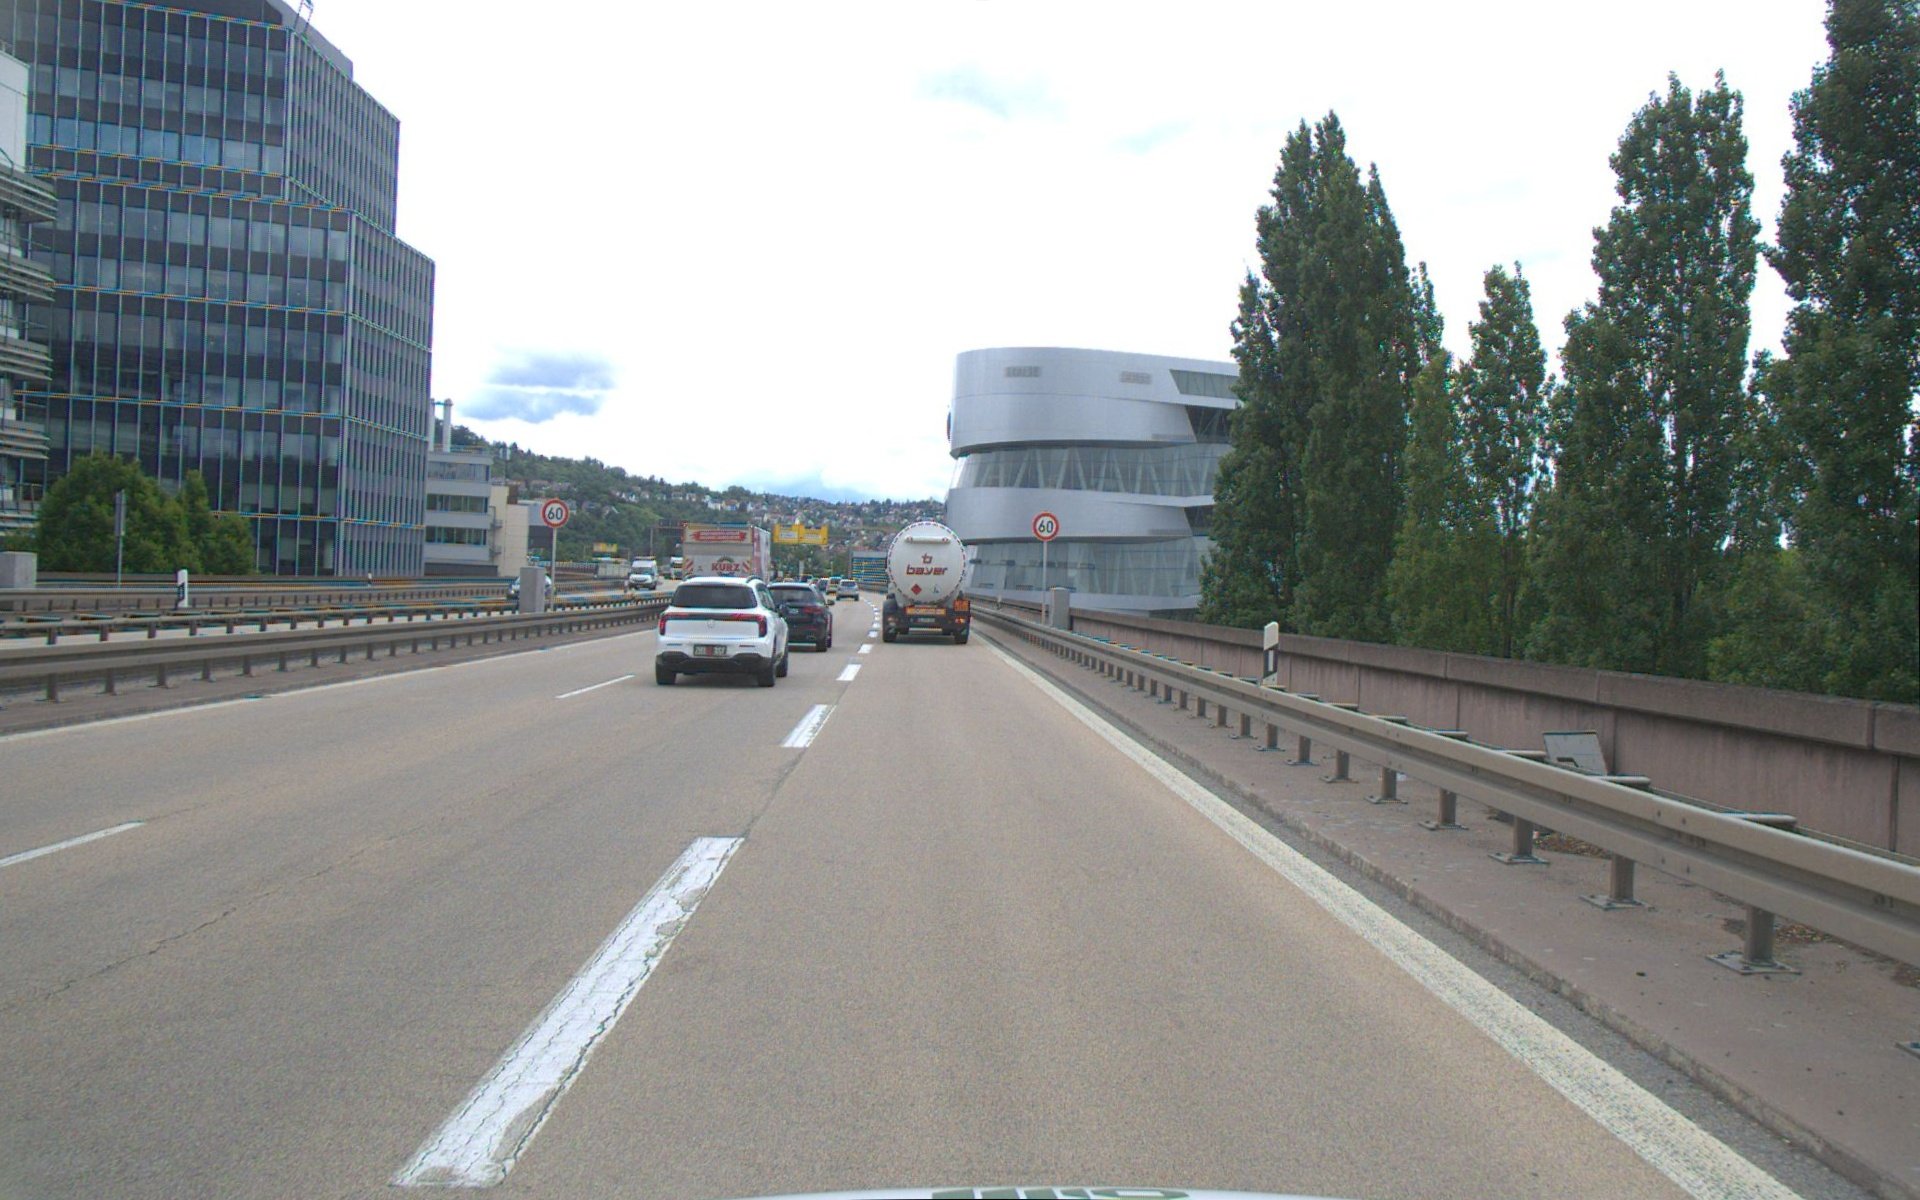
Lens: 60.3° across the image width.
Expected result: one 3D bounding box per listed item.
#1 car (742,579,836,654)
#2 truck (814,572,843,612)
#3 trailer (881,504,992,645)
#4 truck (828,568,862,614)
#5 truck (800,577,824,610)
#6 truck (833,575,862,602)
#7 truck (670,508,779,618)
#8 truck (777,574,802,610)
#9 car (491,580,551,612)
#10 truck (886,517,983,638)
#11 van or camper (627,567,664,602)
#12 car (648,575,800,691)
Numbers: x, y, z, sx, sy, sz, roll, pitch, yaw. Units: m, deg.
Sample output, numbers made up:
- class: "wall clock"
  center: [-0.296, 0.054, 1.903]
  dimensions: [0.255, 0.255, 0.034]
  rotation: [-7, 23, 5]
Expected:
- class: "car"
  center: [-4.177, 0.391, 40.938]
  dimensions: [1.953, 1.704, 4.406]
  rotation: [1, 0, -2]
- class: "truck"
  center: [-15.737, -0.930, 197.613]
  dimensions: [2.999, 4.642, 8.290]
  rotation: [1, 0, -7]
- class: "trailer"
  center: [-0.770, -0.697, 50.084]
  dimensions: [2.995, 3.856, 8.301]
  rotation: [1, 0, -2]
- class: "truck"
  center: [-12.074, -0.906, 173.358]
  dimensions: [2.999, 4.642, 8.290]
  rotation: [1, 0, -7]
- class: "truck"
  center: [-21.427, -0.955, 239.355]
  dimensions: [2.999, 4.642, 8.290]
  rotation: [1, 0, -7]
- class: "truck"
  center: [-9.232, -0.927, 135.959]
  dimensions: [2.210, 2.201, 5.065]
  rotation: [1, 0, -3]
- class: "truck"
  center: [-8.630, -1.283, 61.564]
  dimensions: [2.995, 3.755, 8.301]
  rotation: [1, 0, -2]
- class: "truck"
  center: [-22.912, -1.027, 221.760]
  dimensions: [2.999, 4.642, 8.290]
  rotation: [1, 0, -7]
- class: "car"
  center: [-20.642, -0.172, 77.976]
  dimensions: [1.750, 1.401, 4.228]
  rotation: [2, 0, -2]
- class: "truck"
  center: [-0.901, -0.702, 54.643]
  dimensions: [2.953, 3.721, 6.271]
  rotation: [1, 0, -2]
- class: "van or camper"
  center: [-28.574, -1.421, 150.499]
  dimensions: [2.127, 3.061, 7.115]
  rotation: [1, 0, -2]
- class: "car"
  center: [-3.760, 0.501, 27.067]
  dimensions: [1.953, 1.704, 4.406]
  rotation: [1, 0, -2]
